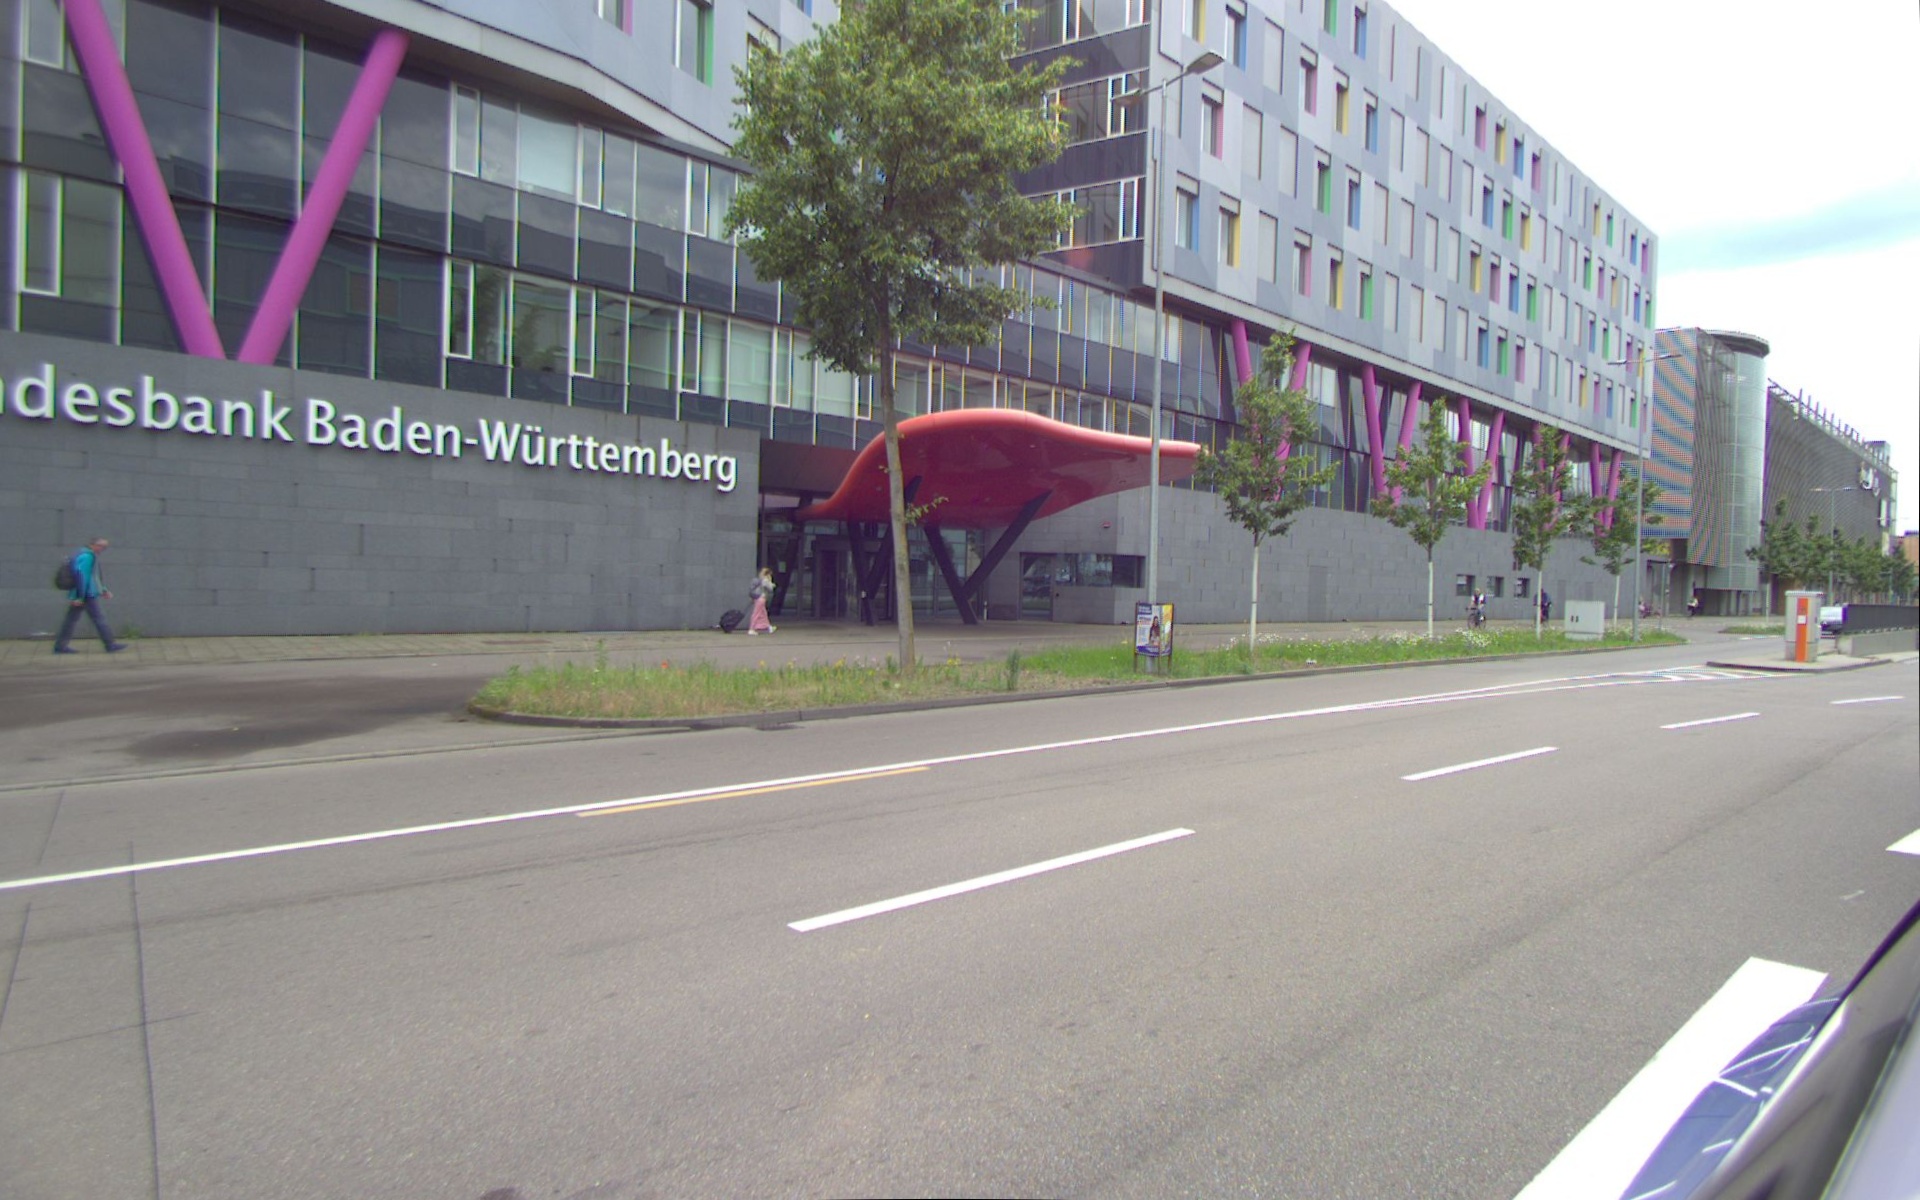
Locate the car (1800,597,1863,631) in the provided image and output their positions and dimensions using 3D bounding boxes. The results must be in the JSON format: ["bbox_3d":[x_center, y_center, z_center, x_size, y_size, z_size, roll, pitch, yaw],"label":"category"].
[{"bbox_3d":[39.814,0.607,46.208,4.266,1.480,1.566,0,0,-41],"label":"car"}]

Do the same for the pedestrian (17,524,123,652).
[{"bbox_3d":[-13.178,-0.181,15.026,1.116,1.792,1.054,1,1,-40],"label":"pedestrian"}]

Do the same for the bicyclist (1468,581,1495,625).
[{"bbox_3d":[21.932,0.134,42.581,0.692,1.825,0.783,2,-1,-41],"label":"bicyclist"}]

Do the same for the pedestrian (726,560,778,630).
[{"bbox_3d":[-4.917,-0.119,23.920,0.898,1.602,0.786,1,1,-40],"label":"pedestrian"}]

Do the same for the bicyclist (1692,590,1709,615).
[{"bbox_3d":[53.017,0.185,72.444,0.958,1.809,0.771,1,1,-43],"label":"bicyclist"}]

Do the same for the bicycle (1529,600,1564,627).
[{"bbox_3d":[28.755,0.665,49.608,2.303,1.173,0.800,6,-3,-42],"label":"bicycle"}]

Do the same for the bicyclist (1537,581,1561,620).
[{"bbox_3d":[28.819,0.029,49.535,0.692,1.826,0.783,6,-3,-41],"label":"bicyclist"}]

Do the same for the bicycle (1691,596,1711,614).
[{"bbox_3d":[53.055,0.359,72.476,2.183,1.209,0.784,1,1,-44],"label":"bicycle"}]

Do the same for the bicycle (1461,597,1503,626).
[{"bbox_3d":[21.991,0.502,42.633,2.304,1.173,0.800,2,0,-42],"label":"bicycle"}]
